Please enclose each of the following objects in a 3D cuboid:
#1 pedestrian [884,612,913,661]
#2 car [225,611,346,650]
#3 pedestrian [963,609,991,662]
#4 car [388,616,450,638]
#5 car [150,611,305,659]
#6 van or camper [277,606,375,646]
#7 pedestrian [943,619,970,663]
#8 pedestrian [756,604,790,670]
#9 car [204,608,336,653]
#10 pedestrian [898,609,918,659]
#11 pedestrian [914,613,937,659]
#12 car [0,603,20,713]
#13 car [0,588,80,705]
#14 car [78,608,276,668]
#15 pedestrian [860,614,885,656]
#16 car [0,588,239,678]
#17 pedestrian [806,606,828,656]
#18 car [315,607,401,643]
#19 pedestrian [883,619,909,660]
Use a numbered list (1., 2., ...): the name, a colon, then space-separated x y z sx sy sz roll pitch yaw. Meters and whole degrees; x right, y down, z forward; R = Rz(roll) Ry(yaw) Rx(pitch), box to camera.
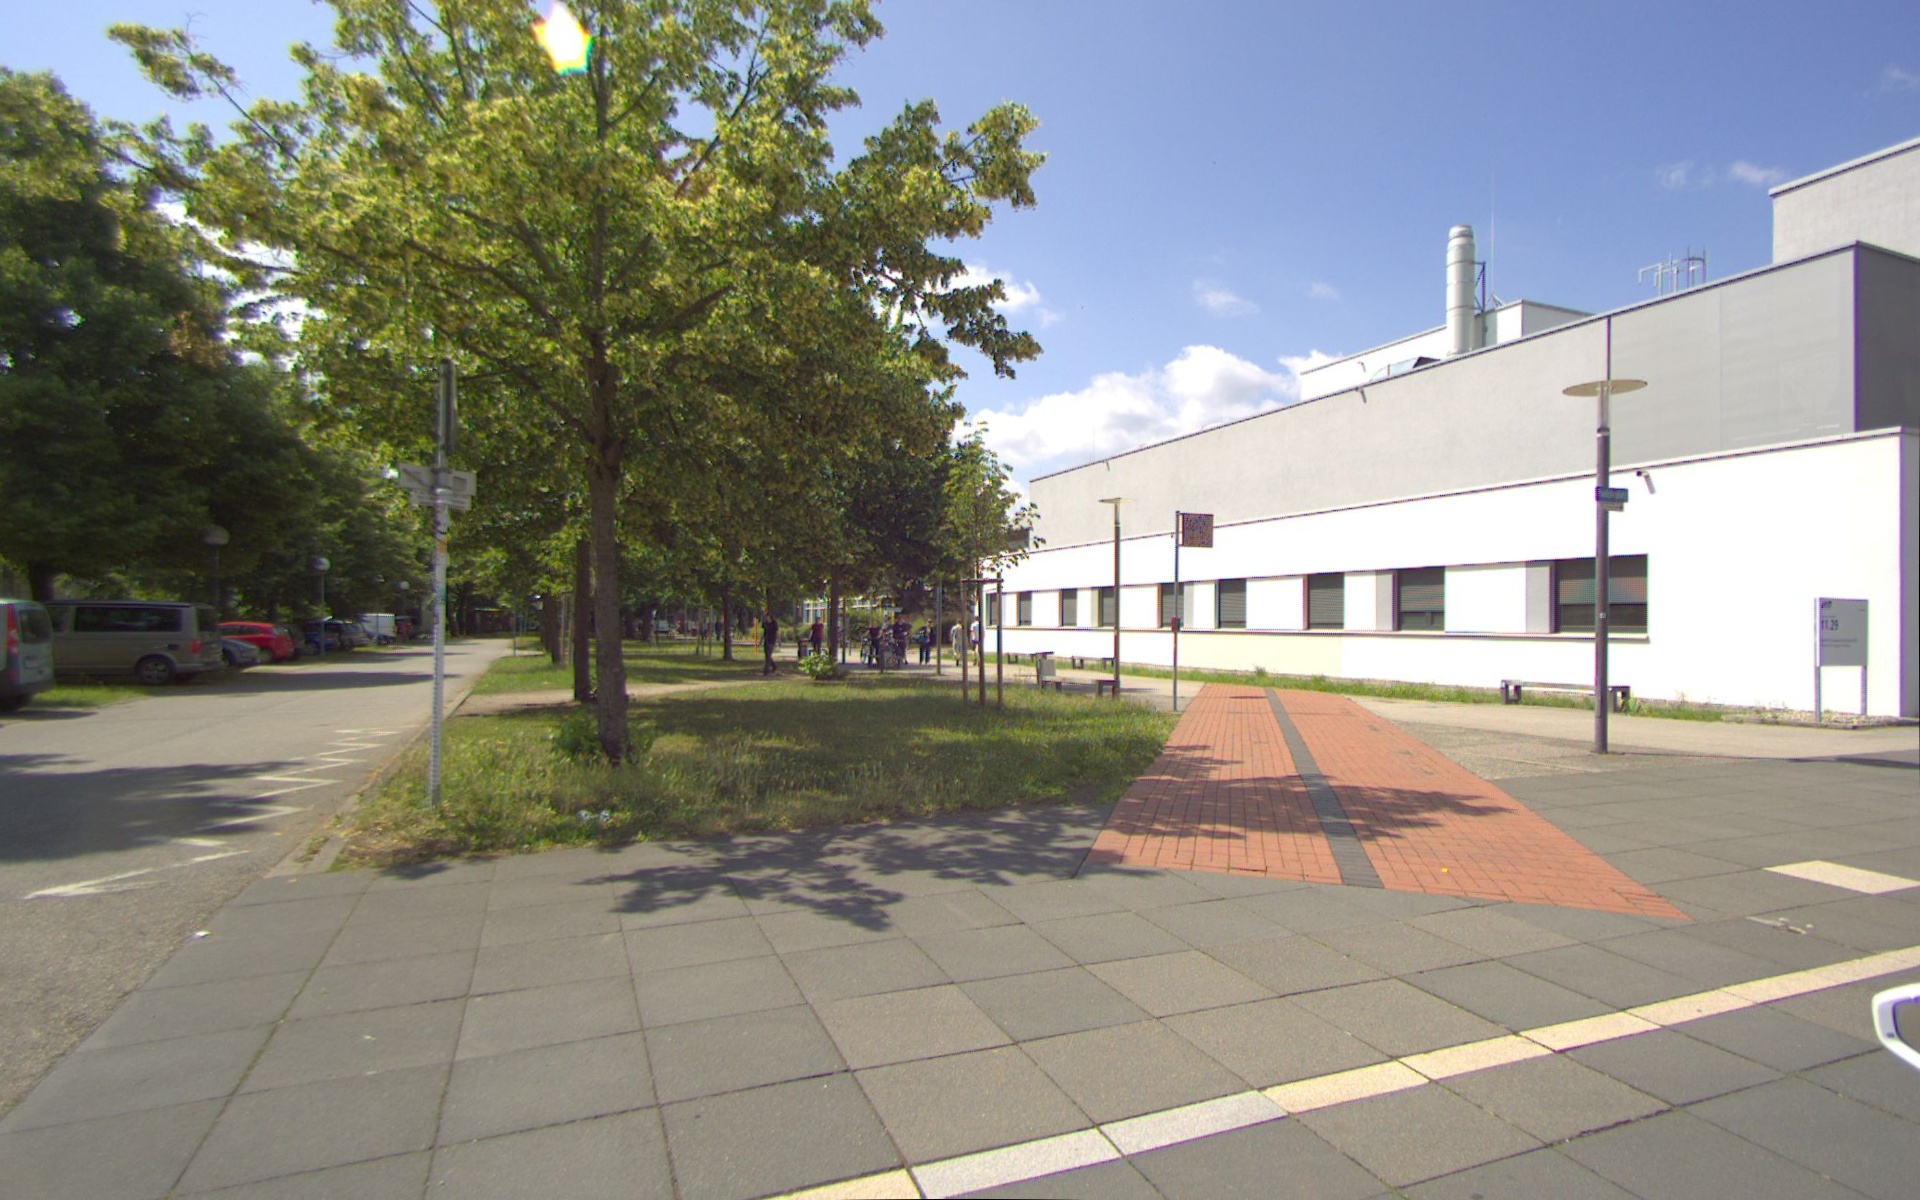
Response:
1. pedestrian: -2.202 1.311 36.157 0.741 1.720 0.881 1 -1 -27
2. car: -29.424 1.358 43.947 4.067 1.562 1.802 2 -2 -24
3. pedestrian: 0.620 1.287 36.762 0.812 1.909 0.760 1 -1 -20
4. car: -42.540 2.128 79.101 4.067 1.615 1.802 2 -2 -24
5. car: -26.215 1.268 36.116 4.063 1.562 1.804 2 -2 -20
6. van or camper: -33.032 1.380 52.480 4.026 1.910 1.802 2 -2 -24
7. pedestrian: -0.126 1.470 36.359 0.747 1.583 0.727 1 -1 -20
8. pedestrian: -5.274 1.042 28.314 0.623 1.810 0.873 0 -1 15
9. car: -27.825 1.241 40.685 4.067 1.689 1.802 2 -2 -24
10. pedestrian: -1.960 1.272 37.722 0.672 1.863 0.761 1 -1 -6
11. pedestrian: -1.292 1.324 37.302 0.785 1.676 0.731 1 -1 -6
12. car: -15.879 0.747 13.280 4.585 1.601 1.889 2 -2 -24
13. car: -16.730 0.673 15.674 4.067 1.809 1.802 2 -2 -24
14. car: -22.246 1.102 28.752 4.067 1.562 1.802 2 -2 -24
15. pedestrian: -3.449 1.359 39.388 0.738 1.602 0.850 1 -1 -24
16. car: -20.254 0.800 24.034 4.459 1.985 1.804 2 -2 -20
17. pedestrian: -5.636 1.215 39.607 0.840 1.916 0.667 1 -1 -7
18. car: -35.120 1.453 58.722 4.067 1.969 1.802 2 -2 -24
19. pedestrian: -2.503 1.550 39.373 0.689 1.602 0.847 1 -1 -33
